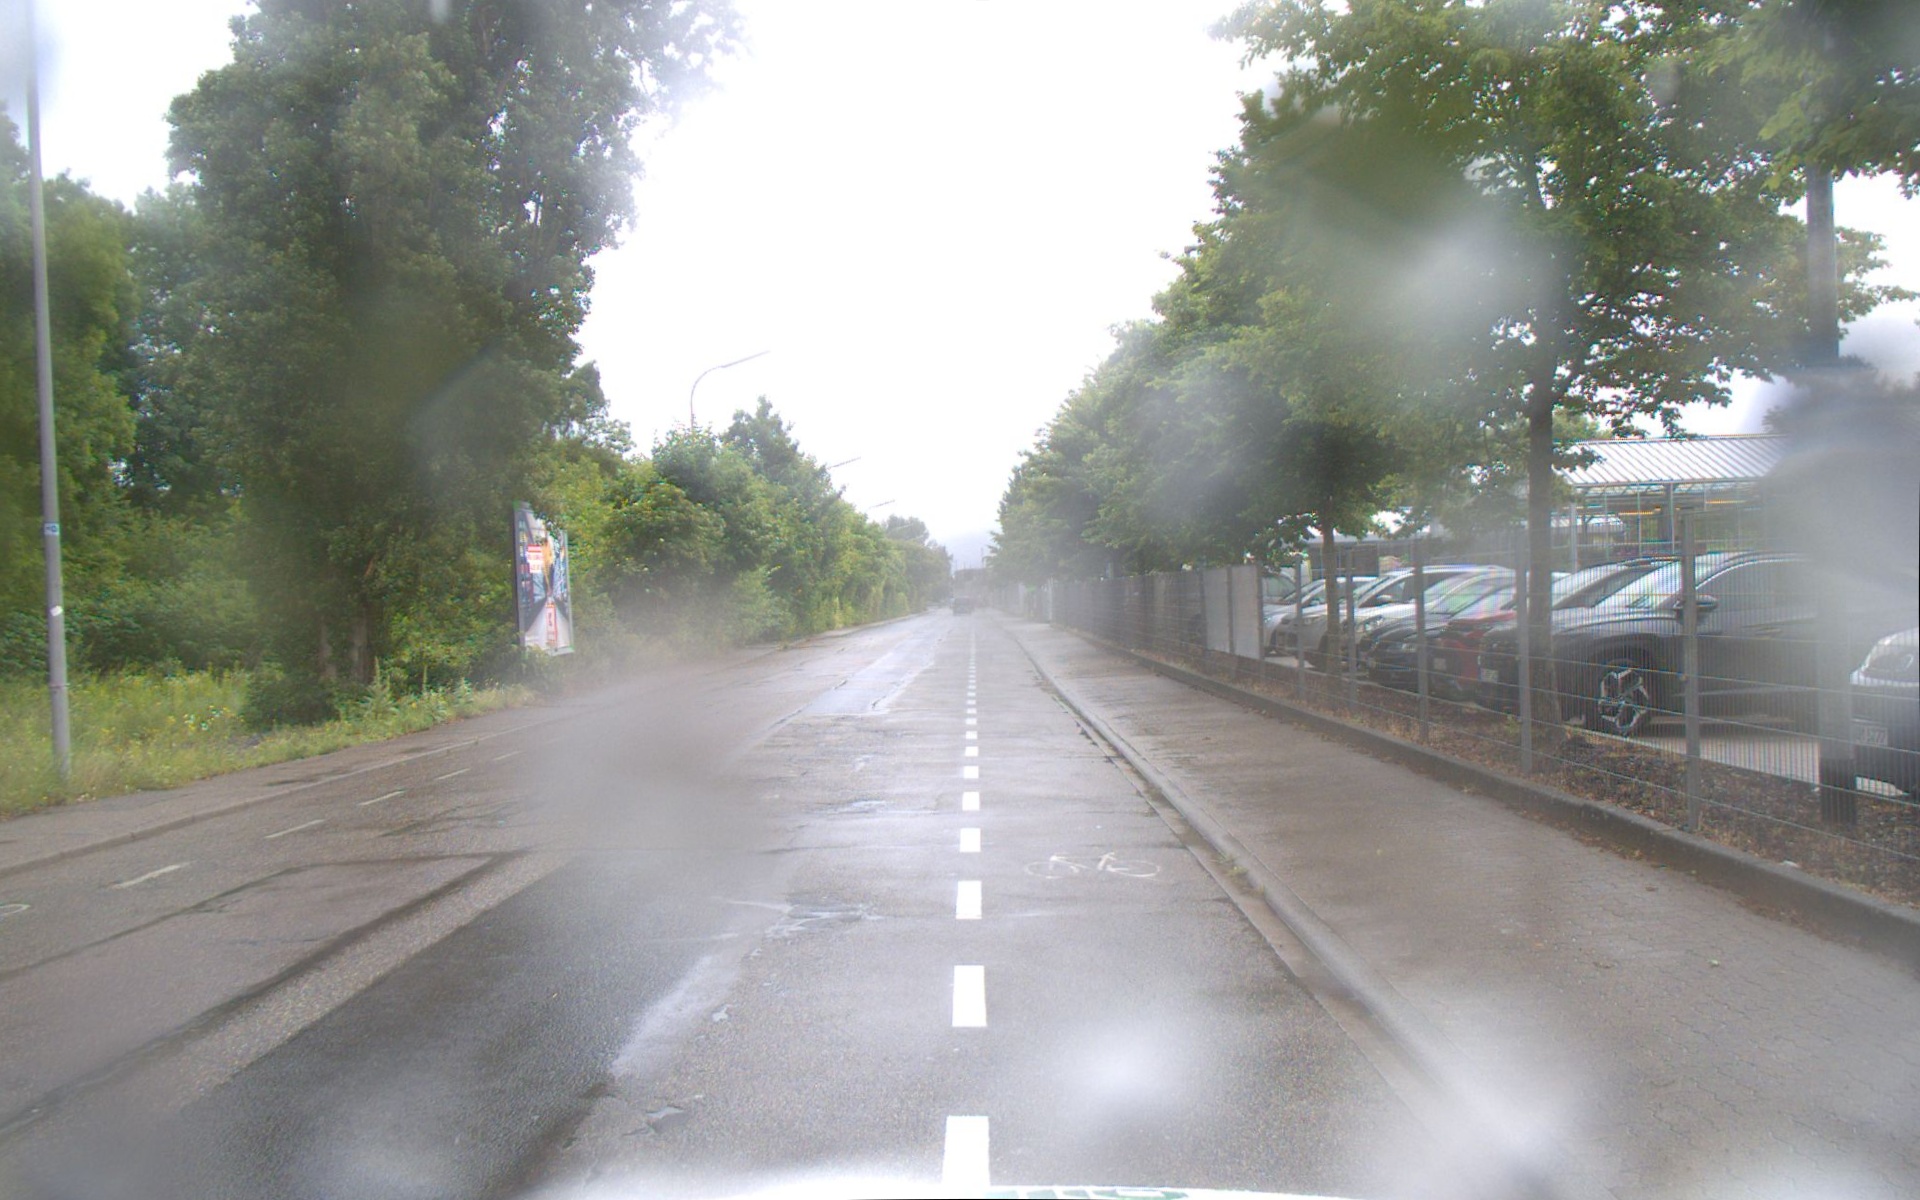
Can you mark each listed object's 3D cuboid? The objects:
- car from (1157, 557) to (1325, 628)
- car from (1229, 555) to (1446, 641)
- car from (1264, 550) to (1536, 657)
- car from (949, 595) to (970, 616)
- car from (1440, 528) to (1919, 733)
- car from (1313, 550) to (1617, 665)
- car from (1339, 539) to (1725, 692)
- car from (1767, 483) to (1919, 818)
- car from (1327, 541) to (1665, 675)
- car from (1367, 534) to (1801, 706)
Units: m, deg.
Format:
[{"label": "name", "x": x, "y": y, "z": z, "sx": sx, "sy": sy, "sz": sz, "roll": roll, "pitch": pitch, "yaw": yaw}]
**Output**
[{"label": "car", "x": 7.506, "y": -0.210, "z": 44.415, "sx": 4.124, "sy": 1.706, "sz": 1.823, "roll": -2, "pitch": 0, "yaw": -3}, {"label": "car", "x": 7.962, "y": -0.048, "z": 35.094, "sx": 4.124, "sy": 1.616, "sz": 1.823, "roll": -2, "pitch": 0, "yaw": -3}, {"label": "car", "x": 7.527, "y": 0.044, "z": 28.497, "sx": 4.128, "sy": 1.616, "sz": 1.821, "roll": -2, "pitch": 0, "yaw": -7}, {"label": "car", "x": -0.082, "y": 0.533, "z": 162.463, "sx": 1.953, "sy": 1.943, "sz": 4.200, "roll": -3, "pitch": -1, "yaw": 0}, {"label": "car", "x": 6.879, "y": 0.242, "z": 15.558, "sx": 4.128, "sy": 1.646, "sz": 1.821, "roll": -2, "pitch": 0, "yaw": -7}, {"label": "car", "x": 7.831, "y": 0.094, "z": 25.839, "sx": 4.128, "sy": 1.560, "sz": 1.821, "roll": -2, "pitch": 0, "yaw": -7}, {"label": "car", "x": 7.044, "y": 0.168, "z": 20.571, "sx": 4.128, "sy": 1.646, "sz": 1.821, "roll": -2, "pitch": 0, "yaw": -7}, {"label": "car", "x": 7.220, "y": 0.192, "z": 9.688, "sx": 4.128, "sy": 1.825, "sz": 1.821, "roll": -2, "pitch": 0, "yaw": -7}, {"label": "car", "x": 7.502, "y": 0.090, "z": 23.366, "sx": 4.128, "sy": 1.646, "sz": 1.821, "roll": -2, "pitch": 0, "yaw": -7}, {"label": "car", "x": 6.871, "y": 0.193, "z": 18.431, "sx": 4.128, "sy": 1.646, "sz": 1.821, "roll": -2, "pitch": 0, "yaw": -7}]
